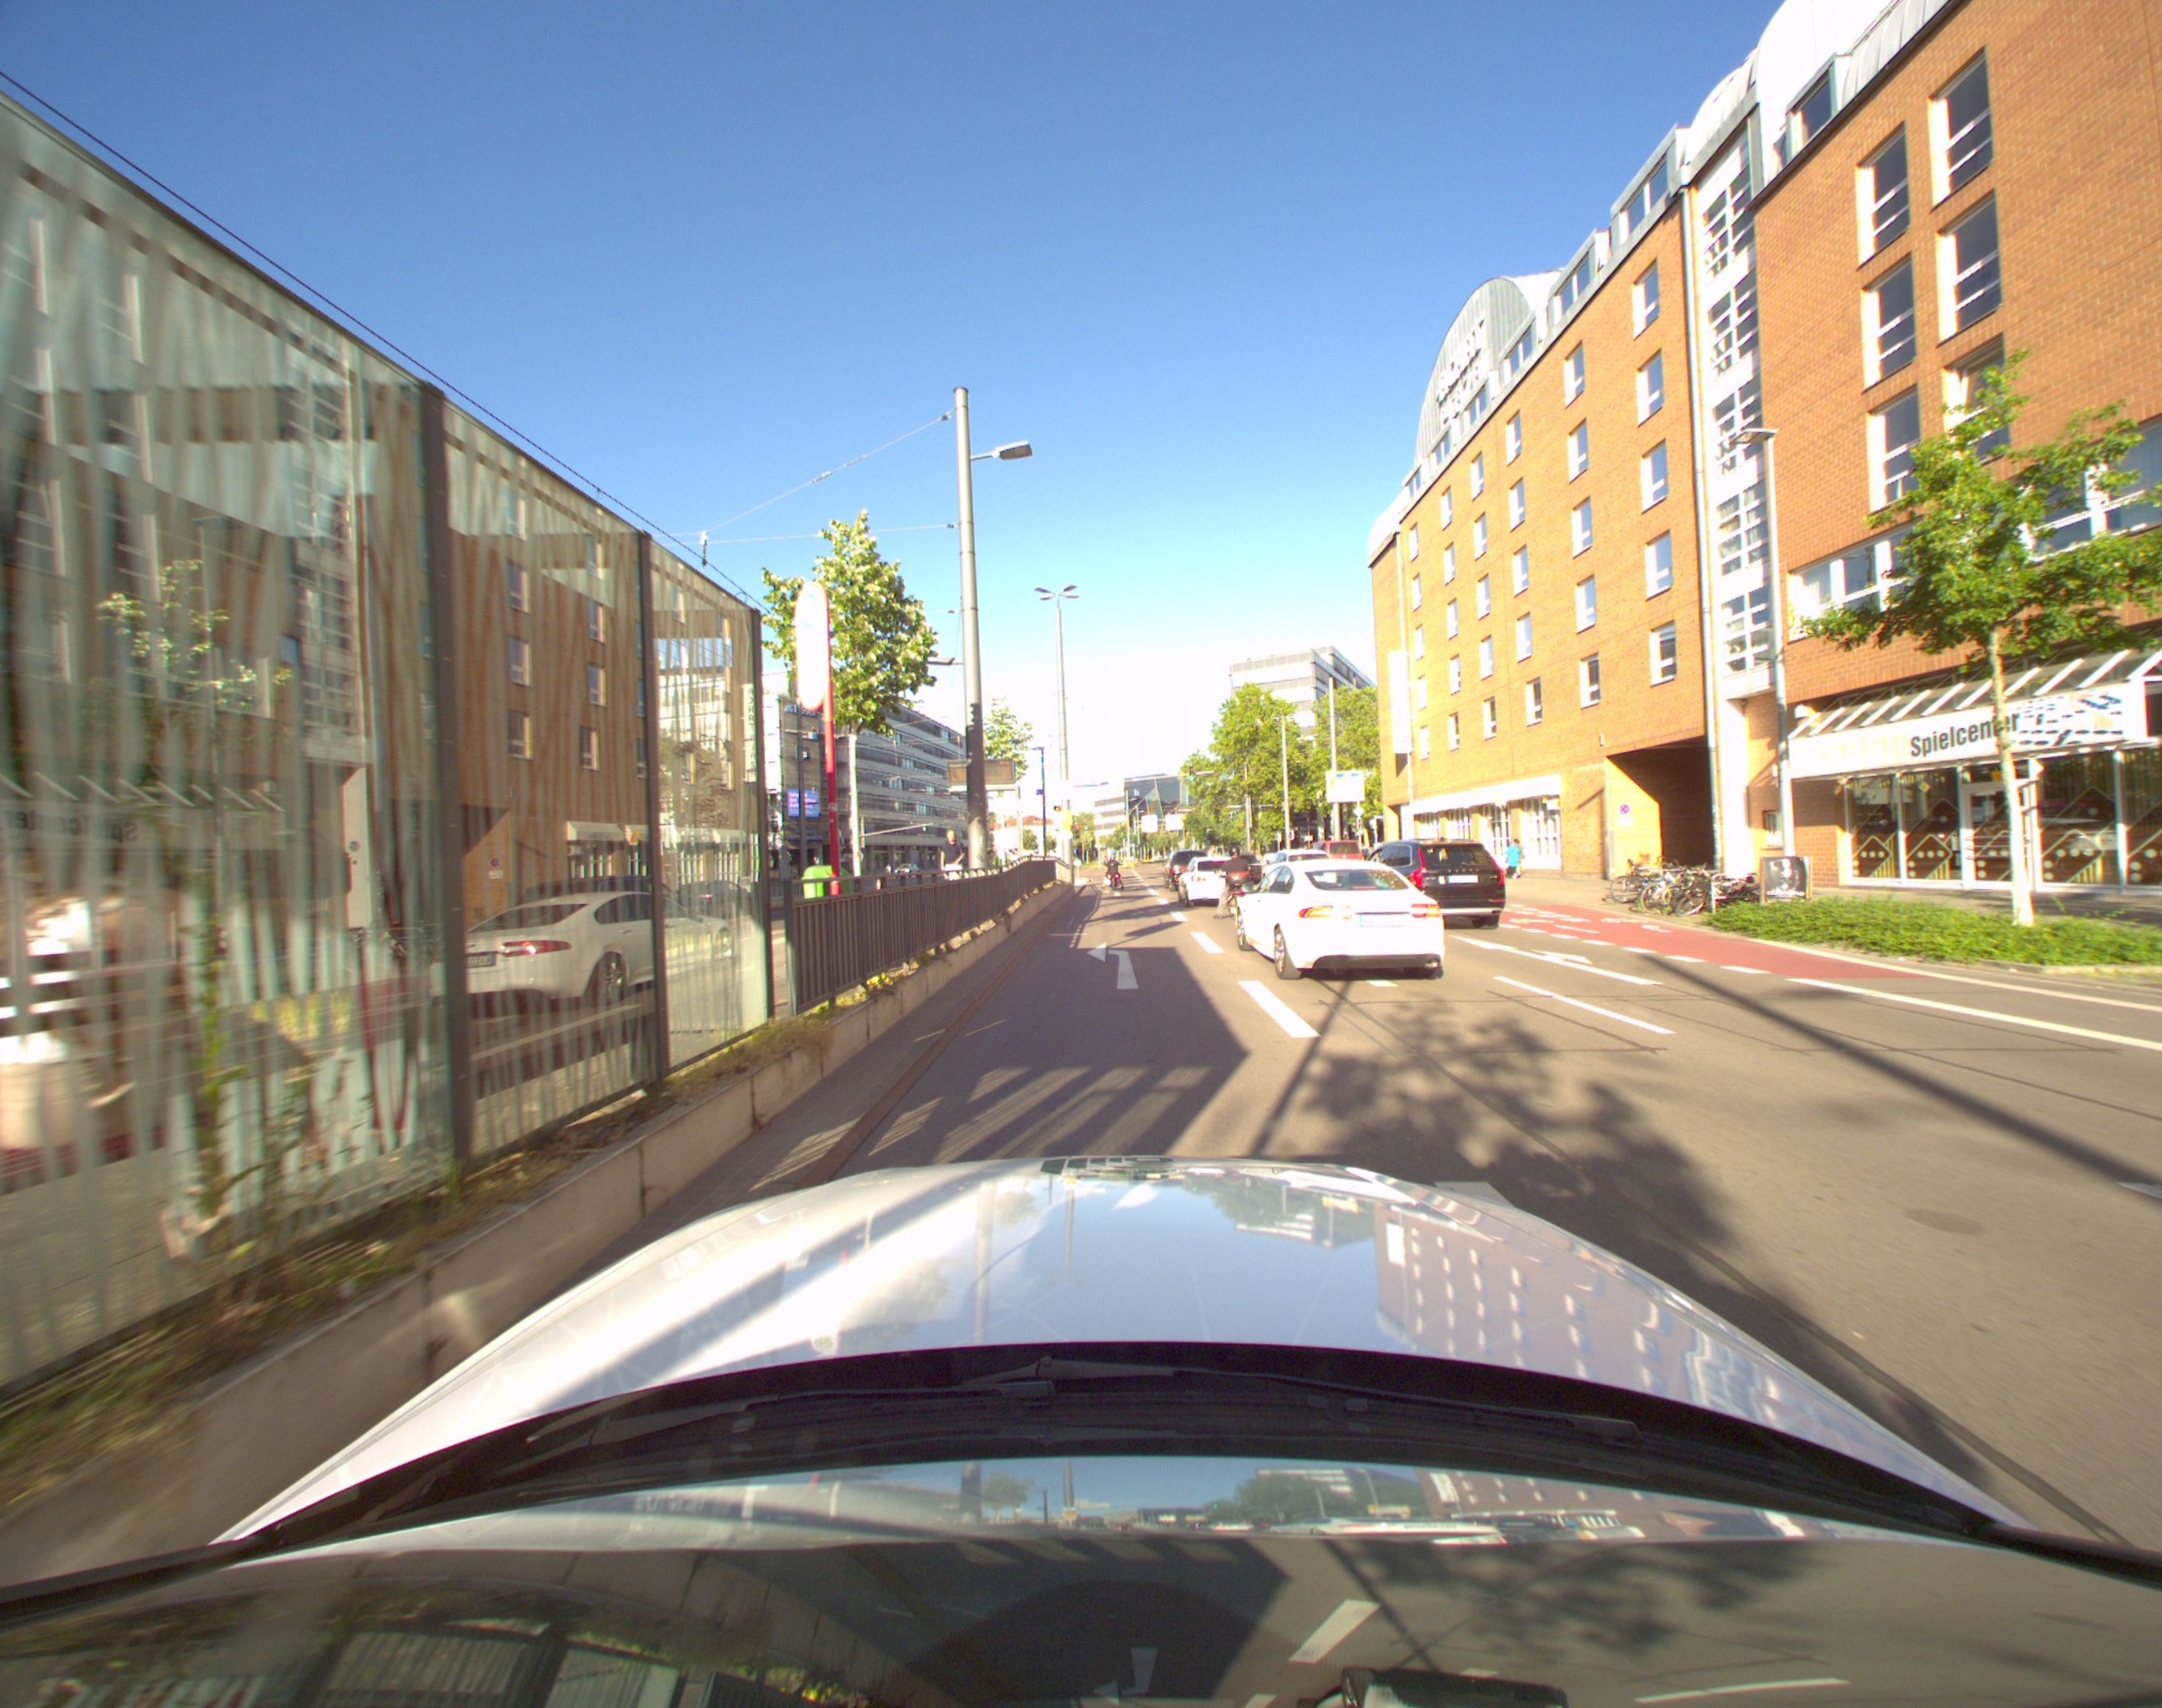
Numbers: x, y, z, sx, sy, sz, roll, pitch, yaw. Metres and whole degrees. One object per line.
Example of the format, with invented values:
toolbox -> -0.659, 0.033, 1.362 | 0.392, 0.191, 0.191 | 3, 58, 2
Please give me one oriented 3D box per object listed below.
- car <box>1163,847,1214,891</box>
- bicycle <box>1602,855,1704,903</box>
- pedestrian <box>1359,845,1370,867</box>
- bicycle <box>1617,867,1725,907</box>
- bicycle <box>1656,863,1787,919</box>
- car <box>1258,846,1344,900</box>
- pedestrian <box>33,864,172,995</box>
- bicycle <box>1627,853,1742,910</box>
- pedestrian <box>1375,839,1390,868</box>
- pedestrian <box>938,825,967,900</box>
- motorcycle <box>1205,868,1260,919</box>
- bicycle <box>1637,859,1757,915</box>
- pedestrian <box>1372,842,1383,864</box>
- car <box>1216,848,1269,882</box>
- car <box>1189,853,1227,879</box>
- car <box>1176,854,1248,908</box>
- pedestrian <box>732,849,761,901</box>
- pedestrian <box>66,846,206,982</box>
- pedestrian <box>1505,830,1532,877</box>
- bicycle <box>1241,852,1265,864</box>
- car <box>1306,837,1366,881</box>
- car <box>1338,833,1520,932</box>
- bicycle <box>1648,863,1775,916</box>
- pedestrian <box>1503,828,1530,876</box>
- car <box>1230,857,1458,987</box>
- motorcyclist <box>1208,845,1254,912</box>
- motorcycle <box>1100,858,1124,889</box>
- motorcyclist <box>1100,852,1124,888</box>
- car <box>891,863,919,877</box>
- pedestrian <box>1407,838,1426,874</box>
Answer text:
car -> 4.485, 0.597, 34.387 | 1.790, 1.705, 4.065 | -1, 0, 3
bicycle -> 14.145, 0.622, 20.198 | 1.931, 1.074, 0.628 | -3, -1, 14
pedestrian -> 21.040, 0.142, 60.456 | 0.681, 1.661, 0.520 | 0, -1, 2
bicycle -> 13.571, 0.771, 18.793 | 1.926, 0.835, 0.558 | -4, -1, 29
bicycle -> 12.635, 0.736, 16.113 | 1.929, 1.022, 0.504 | -3, -1, 19
car -> 7.304, 0.598, 27.459 | 1.843, 1.639, 4.381 | -1, 0, 2
pedestrian -> -12.627, 0.941, 10.543 | 0.637, 1.608, 0.946 | 0, 0, 3
bicycle -> 13.188, 0.608, 17.844 | 1.931, 1.137, 0.492 | -3, -1, 13
pedestrian -> 19.599, -0.038, 52.966 | 0.604, 1.821, 0.749 | -2, -1, 1
pedestrian -> -2.928, 0.199, 18.560 | 0.517, 1.669, 0.550 | -1, -1, 2
motorcycle -> 3.521, 0.893, 19.140 | 0.834, 1.062, 2.553 | -2, 0, 1
bicycle -> 13.065, 0.693, 17.325 | 1.931, 1.075, 0.556 | -3, -1, 13
pedestrian -> 22.379, -0.049, 61.437 | 0.694, 1.661, 0.520 | 0, -1, 2
car -> 7.795, 0.504, 39.617 | 1.843, 1.497, 4.381 | -1, 0, 2
car -> 7.897, 0.722, 51.133 | 1.843, 1.497, 4.381 | -1, 0, 2
car -> 3.863, 0.751, 24.689 | 1.686, 1.497, 4.412 | 0, 0, 3
pedestrian -> -11.999, 0.740, 29.250 | 0.611, 1.817, 0.897 | -1, -1, 3
pedestrian -> -11.937, 0.728, 10.317 | 0.637, 1.643, 0.946 | 0, 0, 3
pedestrian -> 17.346, -0.030, 32.327 | 0.604, 1.821, 0.749 | -2, -1, 1
bicycle -> 20.058, 0.461, 95.119 | 2.666, 1.244, 0.531 | -2, 0, 25
car -> 12.383, 0.234, 39.825 | 1.852, 1.961, 4.004 | -2, 0, 4
car -> 6.933, 0.523, 16.843 | 1.967, 1.759, 4.635 | 0, 0, 3
bicycle -> 12.817, 0.730, 16.623 | 1.929, 0.969, 0.557 | -3, -1, 19
pedestrian -> 16.907, -0.085, 31.625 | 0.604, 1.821, 0.749 | -2, -1, 1
car -> 3.306, 0.756, 11.292 | 1.773, 1.414, 4.821 | 0, 0, 2
motorcyclist -> 3.497, 0.555, 19.106 | 0.834, 1.475, 1.236 | -2, 0, 1
motorcycle -> 1.388, 0.850, 36.114 | 1.015, 1.312, 2.916 | 0, 0, 3
motorcyclist -> 1.386, 0.706, 36.196 | 1.015, 1.603, 1.149 | 0, 0, 2
car -> -20.784, 1.886, 96.325 | 1.983, 1.464, 4.007 | -2, 0, 6
pedestrian -> 17.415, 0.117, 42.262 | 0.604, 1.821, 0.749 | -2, -1, 1
